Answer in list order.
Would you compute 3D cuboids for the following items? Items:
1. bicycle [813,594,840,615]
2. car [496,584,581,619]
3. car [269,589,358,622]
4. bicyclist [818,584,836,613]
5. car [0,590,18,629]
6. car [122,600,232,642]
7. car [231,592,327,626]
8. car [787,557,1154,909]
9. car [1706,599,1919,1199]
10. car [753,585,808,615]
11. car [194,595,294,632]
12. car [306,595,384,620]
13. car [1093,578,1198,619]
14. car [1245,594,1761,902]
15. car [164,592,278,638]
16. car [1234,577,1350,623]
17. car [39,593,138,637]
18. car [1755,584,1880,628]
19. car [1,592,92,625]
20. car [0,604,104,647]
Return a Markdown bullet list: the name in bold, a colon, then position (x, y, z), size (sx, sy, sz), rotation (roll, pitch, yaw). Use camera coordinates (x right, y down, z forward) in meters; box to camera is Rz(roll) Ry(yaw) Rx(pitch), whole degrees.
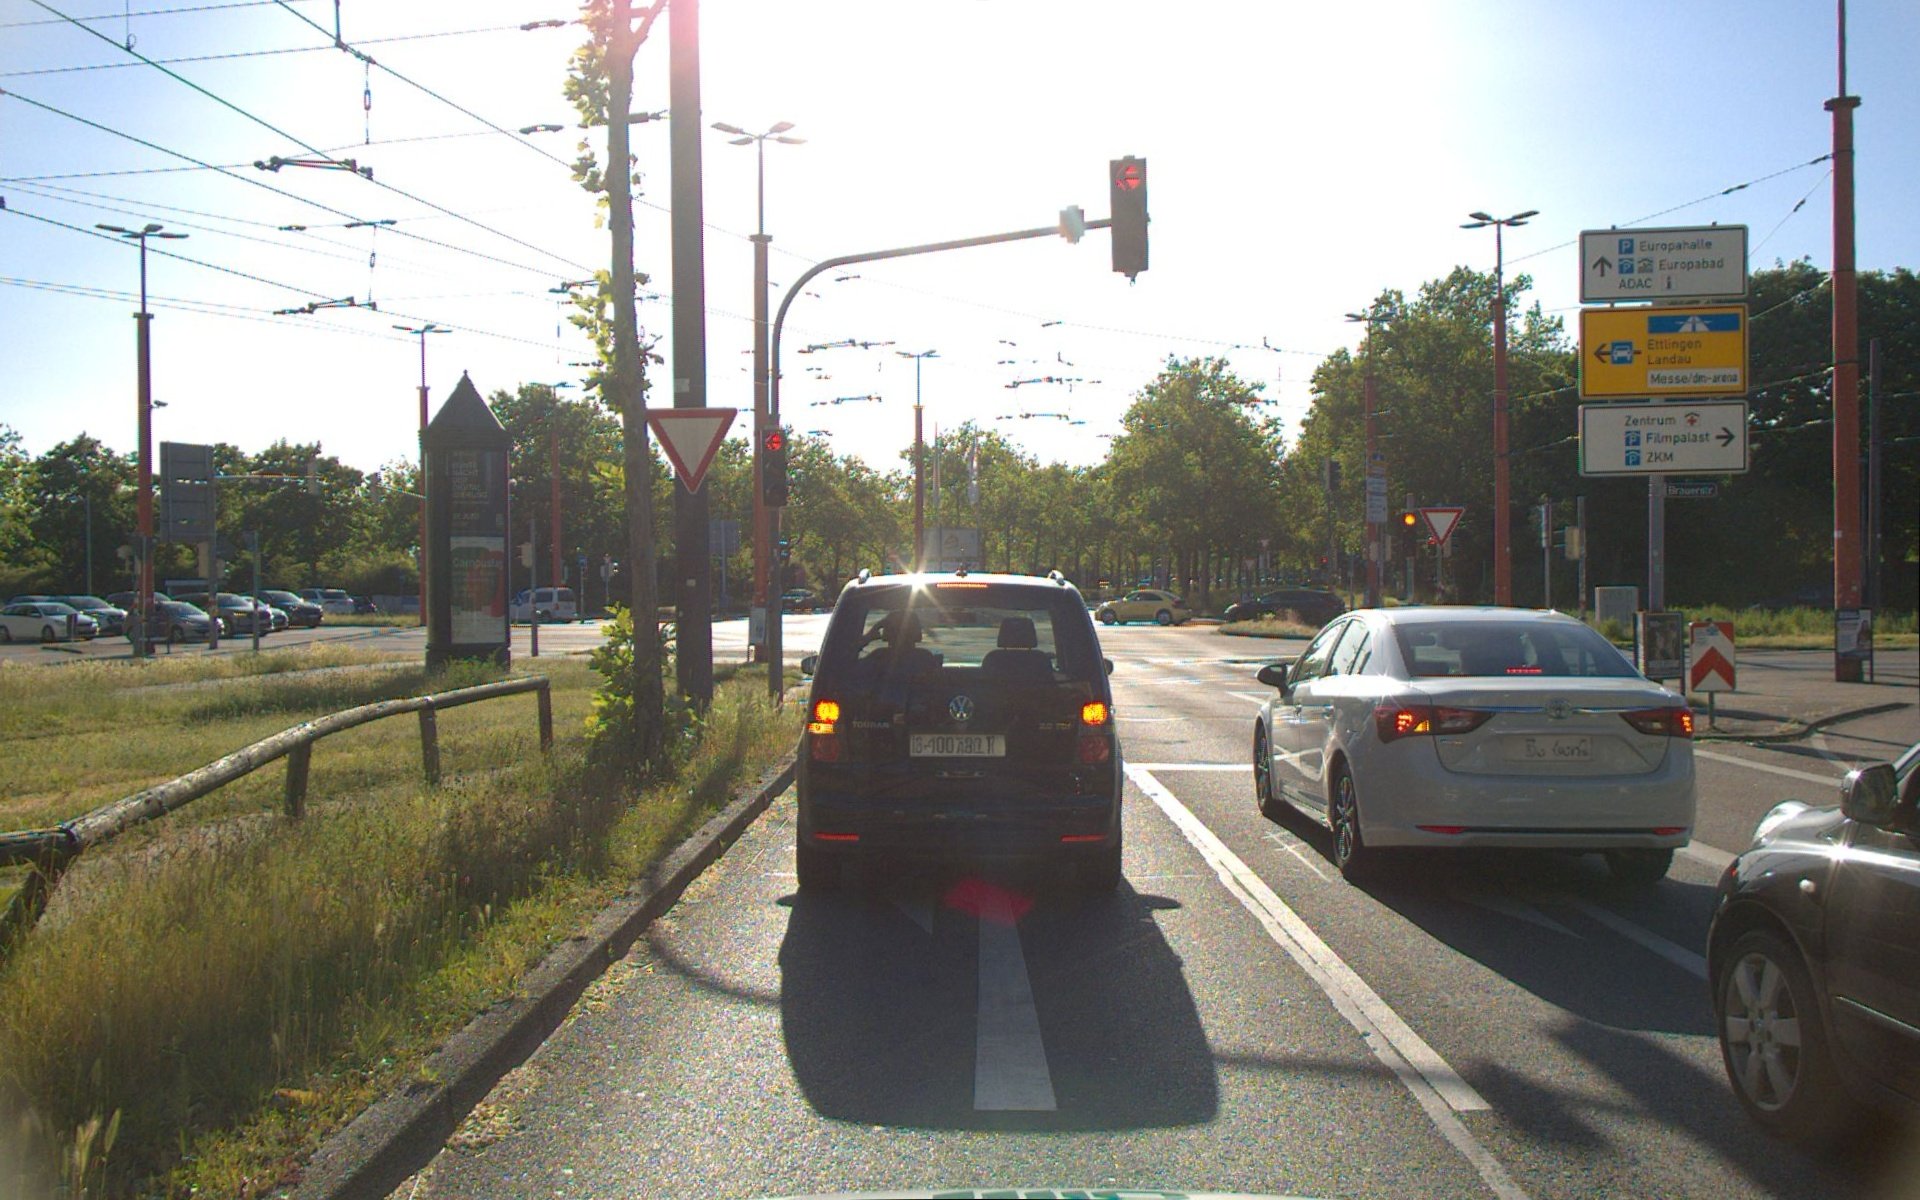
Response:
- **bicycle**: position (-8.990, 0.311, 111.435), size (0.955, 1.413, 2.982), rotation (0, 0, 12)
- **car**: position (-21.570, 0.059, 84.650), size (4.035, 1.780, 1.656), rotation (0, 0, 23)
- **car**: position (-33.838, 0.283, 86.542), size (4.568, 1.654, 1.655), rotation (0, 0, 26)
- **bicyclist**: position (-8.982, -0.087, 111.476), size (0.955, 1.937, 1.051), rotation (0, 0, 12)
- **car**: position (-42.989, 0.381, 71.642), size (4.541, 1.676, 1.753), rotation (0, 0, 30)
- **car**: position (-28.245, 0.740, 59.629), size (3.755, 1.466, 1.655), rotation (0, 0, 27)
- **car**: position (-29.472, 0.370, 71.556), size (4.060, 1.440, 1.542), rotation (0, 0, 26)
- **car**: position (0.063, 0.635, 9.969), size (1.703, 1.630, 4.326), rotation (1, 0, 0)
- **car**: position (3.132, 0.742, 3.495), size (1.544, 1.465, 3.441), rotation (1, 0, 0)
- **car**: position (-11.111, -0.017, 102.549), size (1.618, 1.780, 4.131), rotation (0, 0, 22)
- **car**: position (-29.409, 0.529, 67.933), size (4.060, 1.440, 1.542), rotation (0, 0, 26)
- **car**: position (-36.090, 0.431, 97.084), size (4.031, 1.427, 1.658), rotation (0, 0, 14)
- **car**: position (7.874, -0.088, 70.163), size (4.120, 1.710, 1.655), rotation (0, 0, 26)
- **car**: position (3.011, 0.729, 10.191), size (1.762, 1.465, 4.326), rotation (1, 0, 0)
- **car**: position (-28.510, 0.551, 63.806), size (4.541, 1.676, 1.654), rotation (0, 0, 30)
- **car**: position (12.805, -0.016, 63.795), size (4.122, 1.710, 1.655), rotation (0, 0, 27)
- **car**: position (-35.543, 0.583, 67.435), size (4.248, 1.721, 1.653), rotation (0, 0, 32)
- **car**: position (30.200, 0.193, 58.353), size (3.836, 1.483, 1.656), rotation (0, 0, 25)
- **car**: position (-40.875, 0.366, 74.002), size (4.060, 1.440, 1.542), rotation (0, 0, 26)
- **car**: position (-34.899, 0.968, 63.235), size (4.536, 1.546, 1.654), rotation (0, 0, 30)
